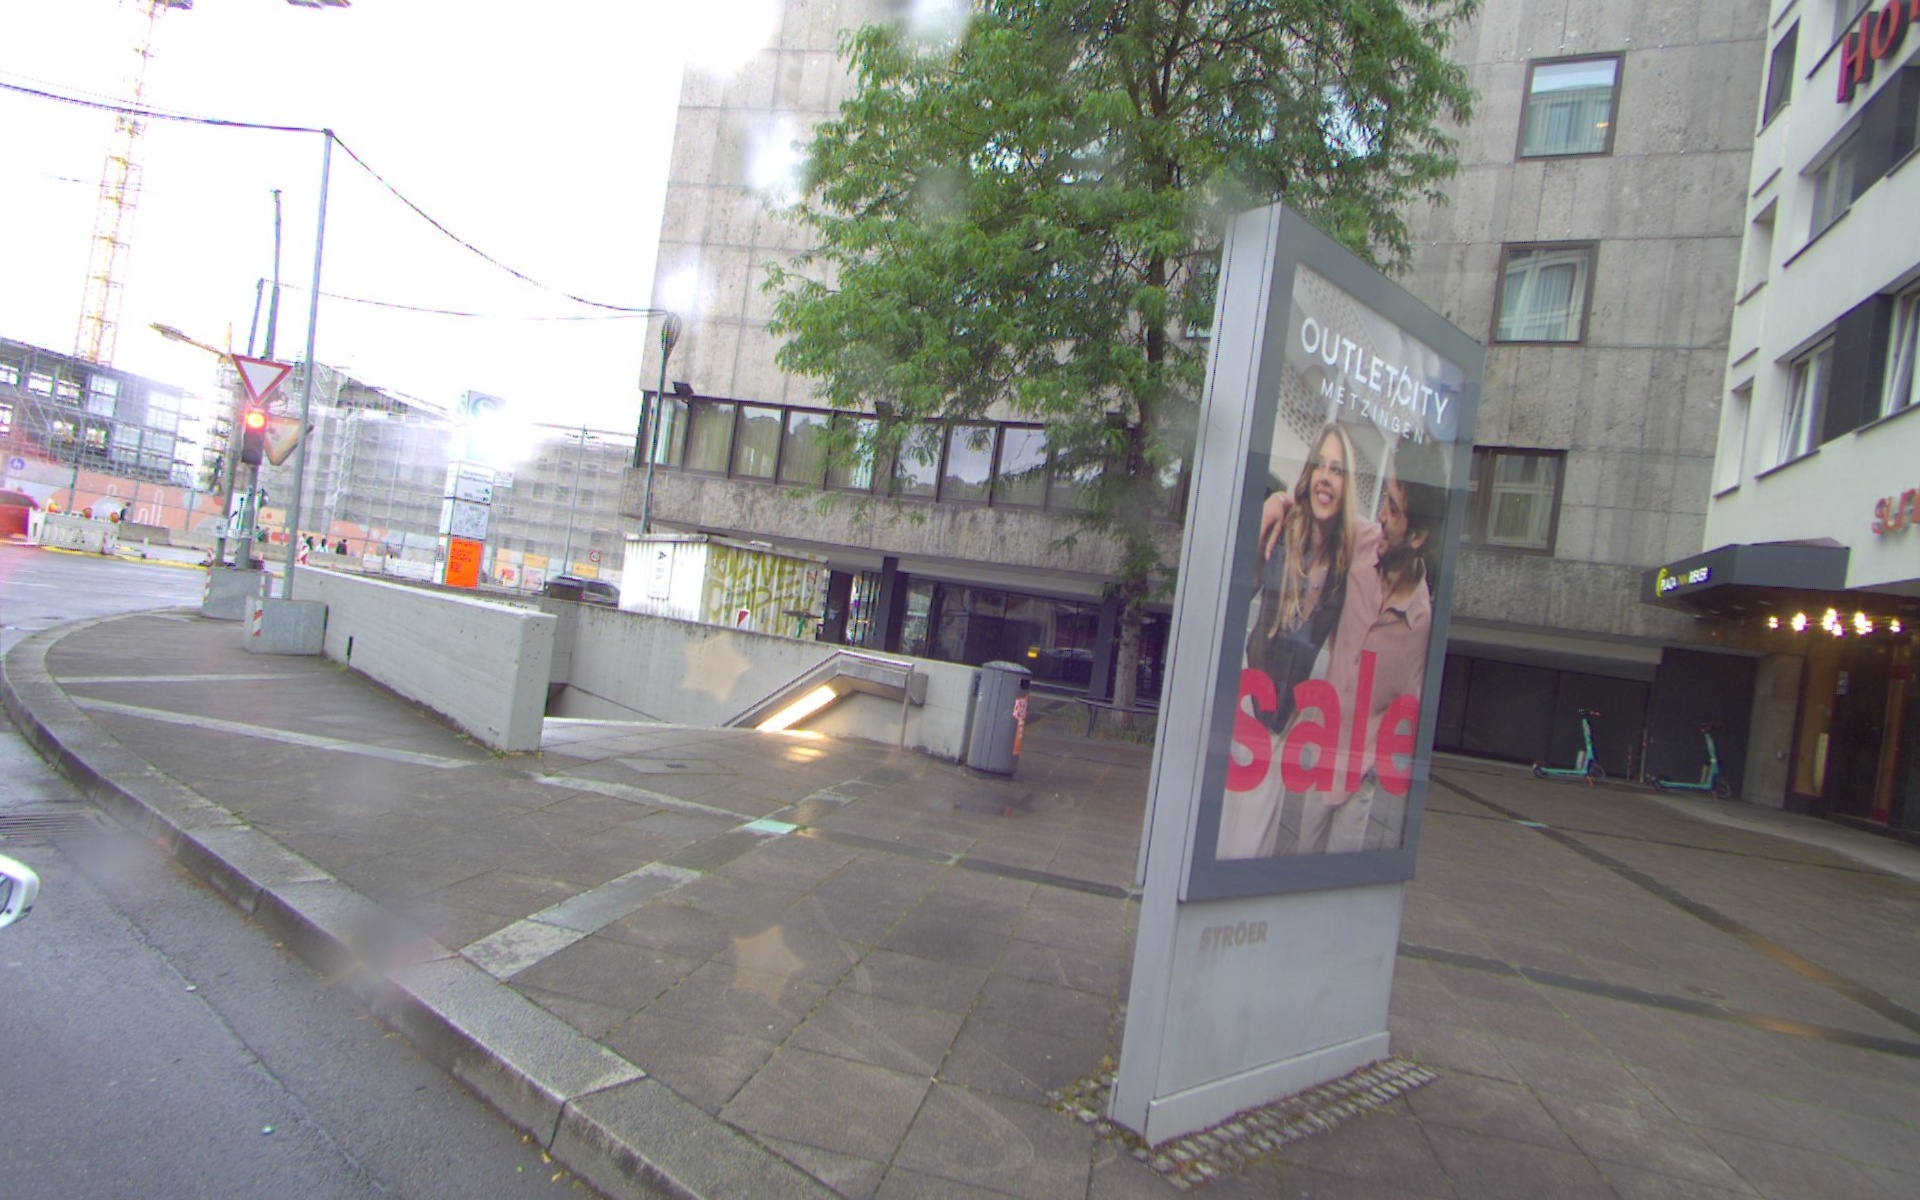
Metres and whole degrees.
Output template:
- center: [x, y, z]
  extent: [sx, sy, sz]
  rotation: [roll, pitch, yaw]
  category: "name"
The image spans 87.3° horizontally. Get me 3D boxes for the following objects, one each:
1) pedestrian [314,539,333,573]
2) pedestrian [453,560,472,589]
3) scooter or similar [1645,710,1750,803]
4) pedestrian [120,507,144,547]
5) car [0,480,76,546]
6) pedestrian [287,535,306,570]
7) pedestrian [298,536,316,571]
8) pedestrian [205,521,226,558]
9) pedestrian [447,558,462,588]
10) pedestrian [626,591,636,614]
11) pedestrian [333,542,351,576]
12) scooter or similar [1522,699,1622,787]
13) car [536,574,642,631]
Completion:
- center: [-37.170, -2.569, 58.756]
  extent: [0.355, 1.919, 0.577]
  rotation: [7, -2, 21]
  category: "pedestrian"
- center: [-34.611, -1.787, 70.040]
  extent: [0.555, 1.919, 0.801]
  rotation: [7, -2, 17]
  category: "pedestrian"
- center: [12.366, 2.612, 16.901]
  extent: [1.208, 1.352, 0.520]
  rotation: [7, -2, 19]
  category: "scooter or similar"
- center: [-41.071, -3.618, 49.908]
  extent: [0.355, 1.919, 0.577]
  rotation: [7, -2, 21]
  category: "pedestrian"
- center: [-30.510, -2.930, 31.250]
  extent: [1.962, 1.727, 4.008]
  rotation: [7, -3, 14]
  category: "car"
- center: [-38.918, -2.793, 59.025]
  extent: [0.355, 1.919, 0.577]
  rotation: [7, -2, 21]
  category: "pedestrian"
- center: [-38.151, -2.701, 58.799]
  extent: [0.355, 1.919, 0.577]
  rotation: [7, -2, 21]
  category: "pedestrian"
- center: [-40.504, -3.266, 54.722]
  extent: [0.355, 1.919, 0.577]
  rotation: [7, -2, 21]
  category: "pedestrian"
- center: [-34.177, -1.846, 67.997]
  extent: [0.355, 1.919, 0.577]
  rotation: [7, -2, 21]
  category: "pedestrian"
- center: [-29.191, 0.210, 89.208]
  extent: [0.355, 1.919, 0.577]
  rotation: [7, -2, 21]
  category: "pedestrian"
- center: [-36.420, -2.434, 59.272]
  extent: [0.355, 1.919, 0.577]
  rotation: [7, -2, 21]
  category: "pedestrian"
- center: [10.281, 2.389, 16.936]
  extent: [1.208, 1.269, 0.565]
  rotation: [7, 0, 19]
  category: "scooter or similar"
- center: [-15.962, 0.174, 43.623]
  extent: [1.962, 1.817, 5.112]
  rotation: [7, -3, 8]
  category: "car"
